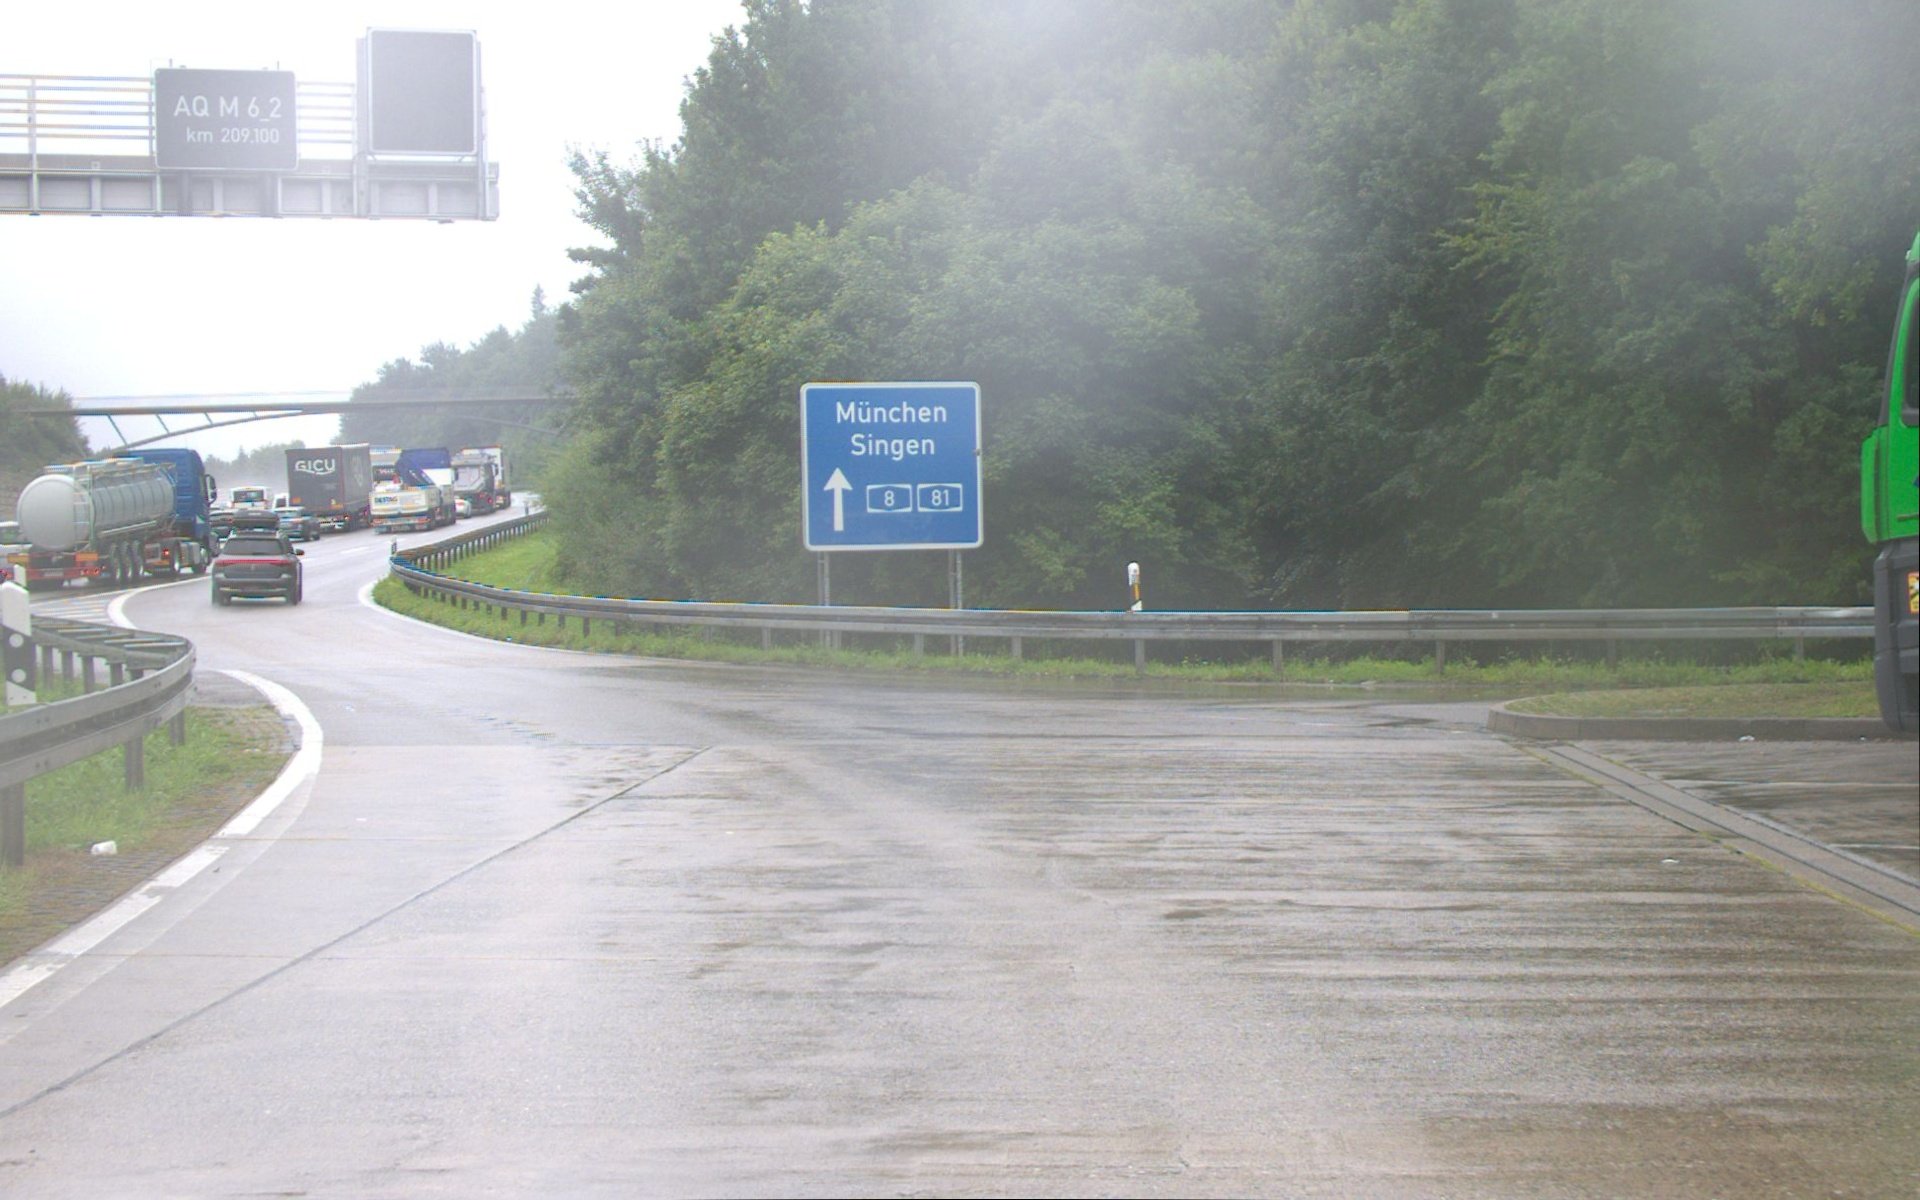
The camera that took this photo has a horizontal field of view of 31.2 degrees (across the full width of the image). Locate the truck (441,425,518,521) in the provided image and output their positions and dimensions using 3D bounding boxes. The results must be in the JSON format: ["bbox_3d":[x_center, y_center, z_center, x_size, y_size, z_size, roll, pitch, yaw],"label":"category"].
[{"bbox_3d":[-30.434,-7.981,218.078,4.335,5.744,9.733,1,1,-6],"label":"truck"}]

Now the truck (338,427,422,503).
[{"bbox_3d":[-33.599,-7.784,199.632,3.576,4.081,10.881,-2,1,-4],"label":"truck"}]

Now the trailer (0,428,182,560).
[{"bbox_3d":[-23.573,-2.930,92.811,2.873,3.277,10.080,-2,3,-1],"label":"trailer"}]

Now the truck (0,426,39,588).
[{"bbox_3d":[-22.652,-1.890,73.268,2.831,3.576,11.799,-3,2,0],"label":"truck"}]

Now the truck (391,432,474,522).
[{"bbox_3d":[-26.783,-6.169,174.878,3.506,4.253,10.605,1,1,-6],"label":"truck"}]

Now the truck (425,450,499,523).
[{"bbox_3d":[-28.728,-6.502,198.856,3.754,3.957,11.062,1,1,-6],"label":"truck"}]

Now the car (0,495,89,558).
[{"bbox_3d":[-26.900,-2.170,100.885,1.819,1.760,4.001,-1,2,-3],"label":"car"}]

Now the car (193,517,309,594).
[{"bbox_3d":[-15.761,-0.991,76.552,1.993,1.630,4.001,1,1,-4],"label":"car"}]

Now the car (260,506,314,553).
[{"bbox_3d":[-28.109,-2.920,143.672,1.797,1.897,4.001,1,1,-5],"label":"car"}]

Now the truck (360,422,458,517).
[{"bbox_3d":[-25.438,-6.061,159.217,3.599,4.090,11.563,-2,3,-5],"label":"truck"}]

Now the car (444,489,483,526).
[{"bbox_3d":[-26.809,-4.988,185.806,1.797,1.897,4.001,-2,1,-5],"label":"car"}]

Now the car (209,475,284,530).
[{"bbox_3d":[-40.953,-5.571,197.414,3.246,2.992,6.774,1,1,-4],"label":"car"}]

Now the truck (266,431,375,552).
[{"bbox_3d":[-30.327,-5.083,163.445,3.754,5.480,10.174,1,1,-3],"label":"truck"}]

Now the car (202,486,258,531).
[{"bbox_3d":[-32.111,-4.003,151.281,1.797,1.897,4.001,-2,1,-4],"label":"car"}]

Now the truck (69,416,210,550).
[{"bbox_3d":[-23.728,-3.430,99.664,2.877,3.680,5.057,-2,3,-2],"label":"truck"}]

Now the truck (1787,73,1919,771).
[{"bbox_3d":[8.212,-1.131,19.820,2.819,4.135,5.994,-3,1,-44],"label":"truck"}]
